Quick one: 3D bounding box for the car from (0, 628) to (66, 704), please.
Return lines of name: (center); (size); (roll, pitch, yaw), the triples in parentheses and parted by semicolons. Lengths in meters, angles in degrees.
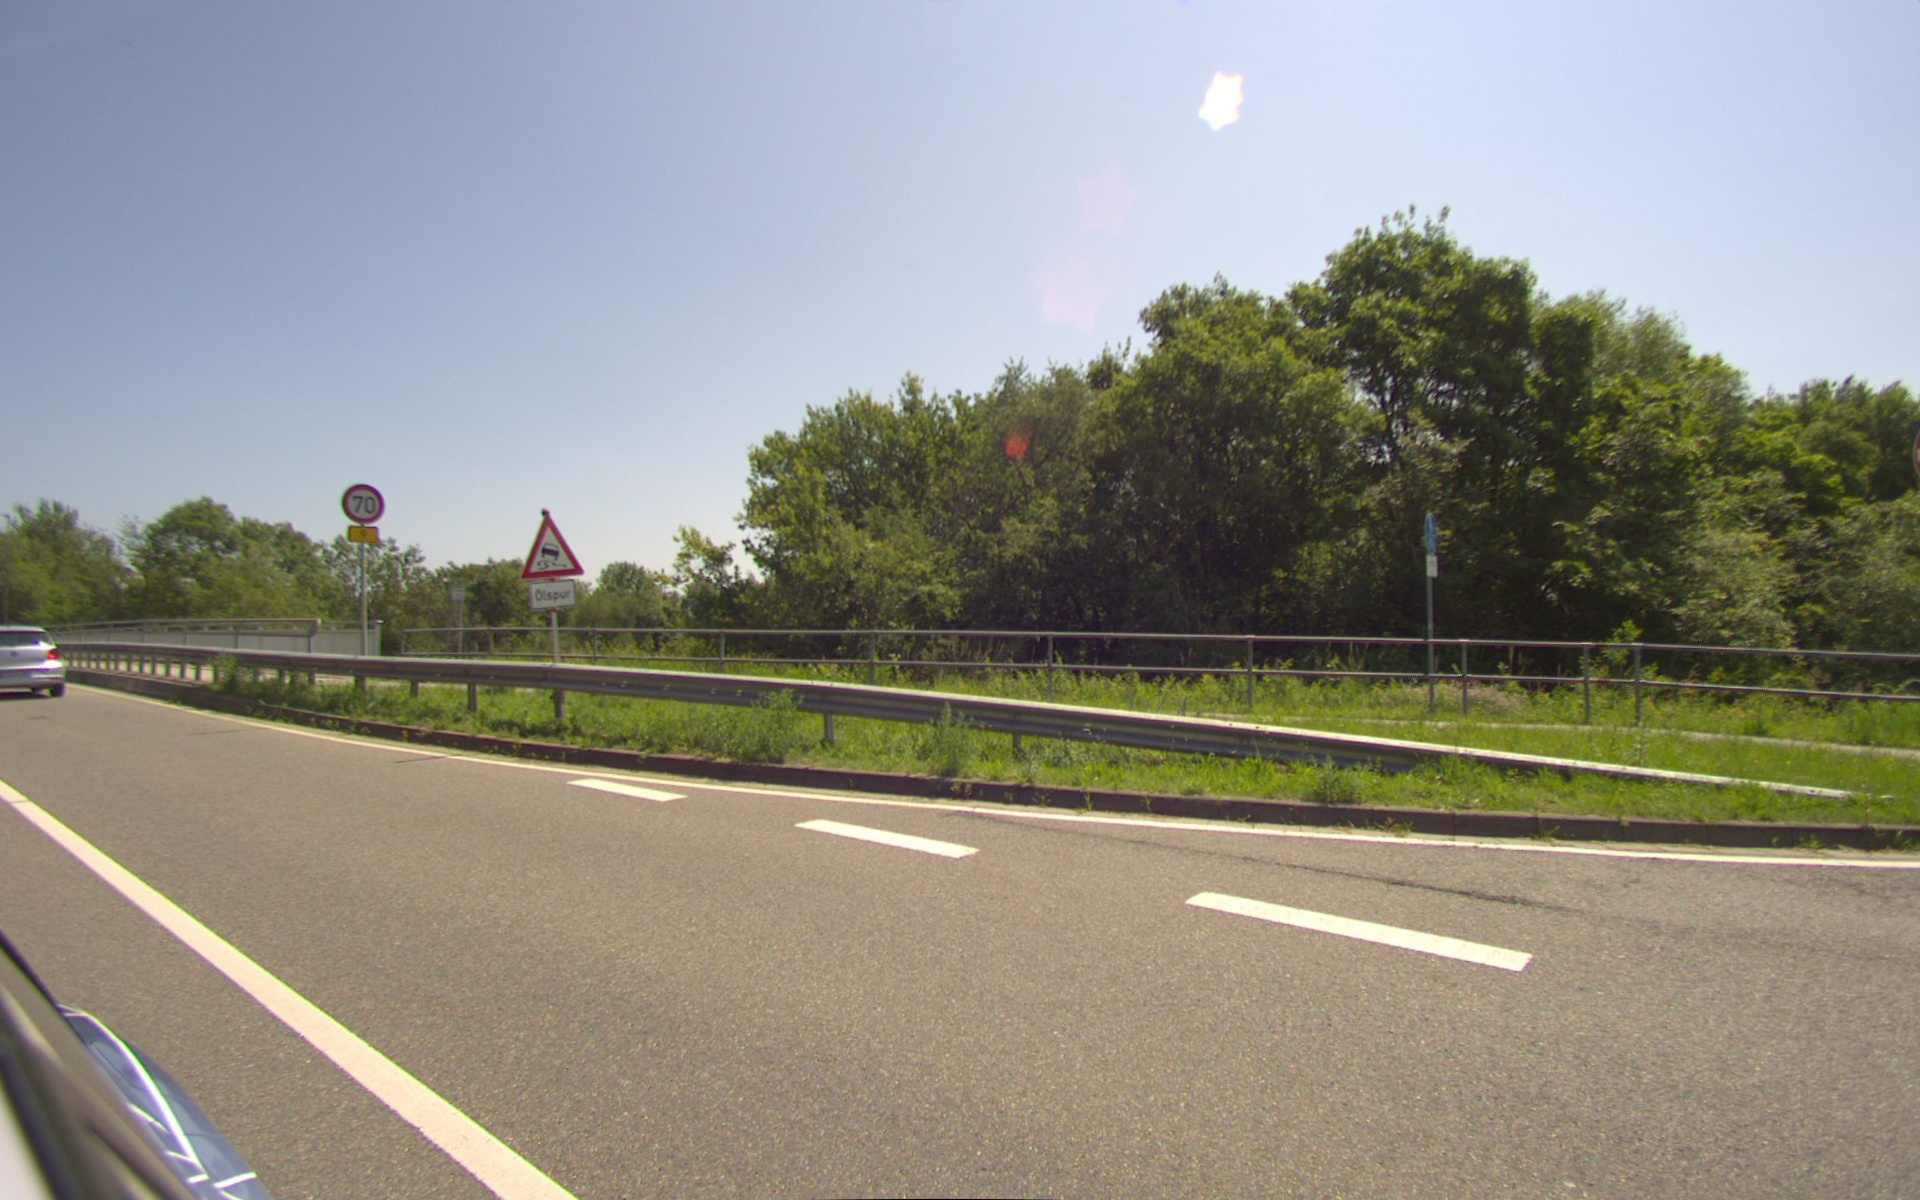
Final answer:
car: (-19.673, 1.302, 20.669); (3.763, 1.429, 1.627); (-1, -1, 40)
